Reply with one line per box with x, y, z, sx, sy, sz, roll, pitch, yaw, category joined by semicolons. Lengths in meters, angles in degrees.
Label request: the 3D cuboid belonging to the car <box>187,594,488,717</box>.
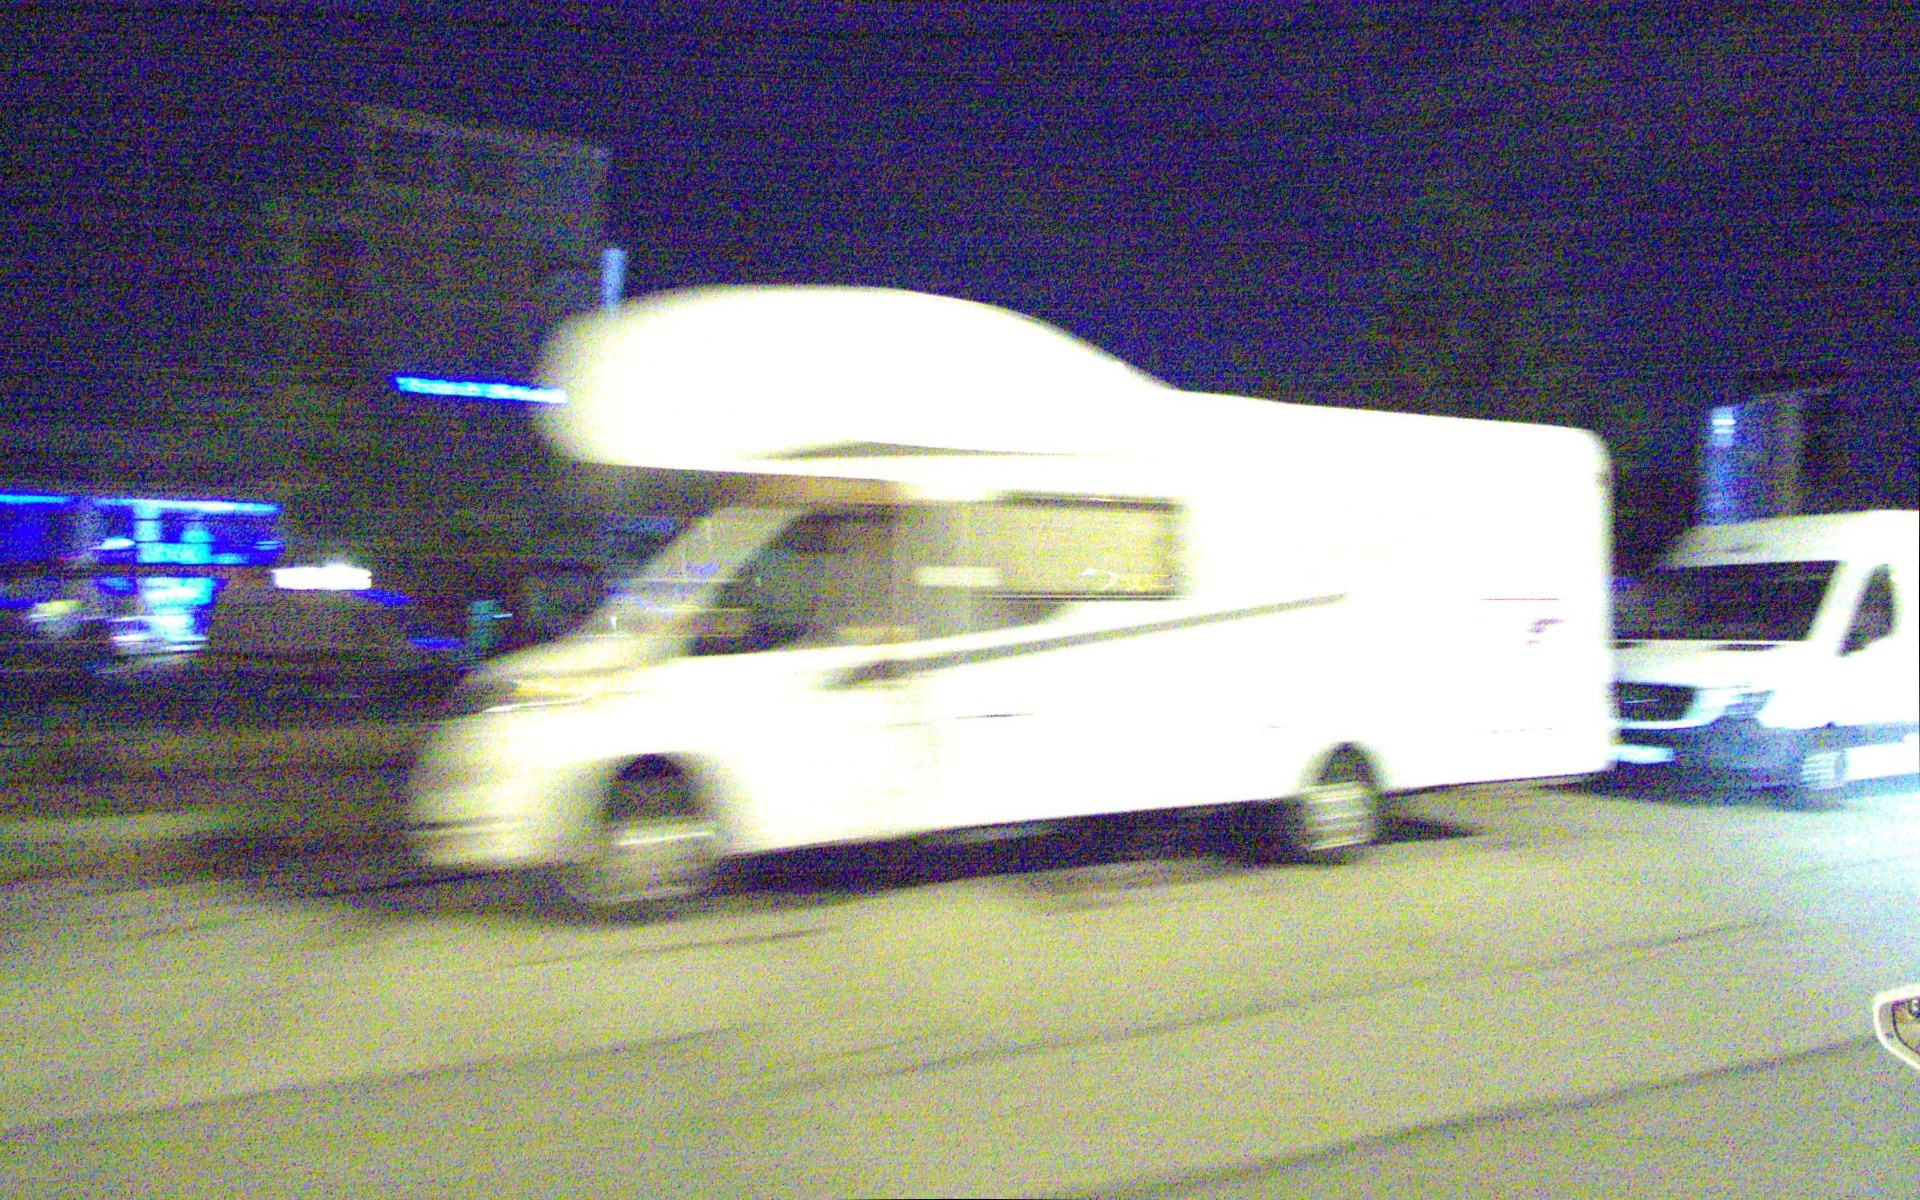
-14.205;1.212;23.132;5.760;2.589;2.000;1;2;3;car

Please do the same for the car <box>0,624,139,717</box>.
-22.101;1.587;23.400;4.393;1.910;2.000;1;2;4;car

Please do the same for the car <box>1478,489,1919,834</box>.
8.846;0.537;10.200;6.989;2.640;2.514;1;-1;-23;car

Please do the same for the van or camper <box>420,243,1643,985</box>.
0.759;0.121;6.704;7.332;3.135;2.516;1;-1;-20;van or camper
